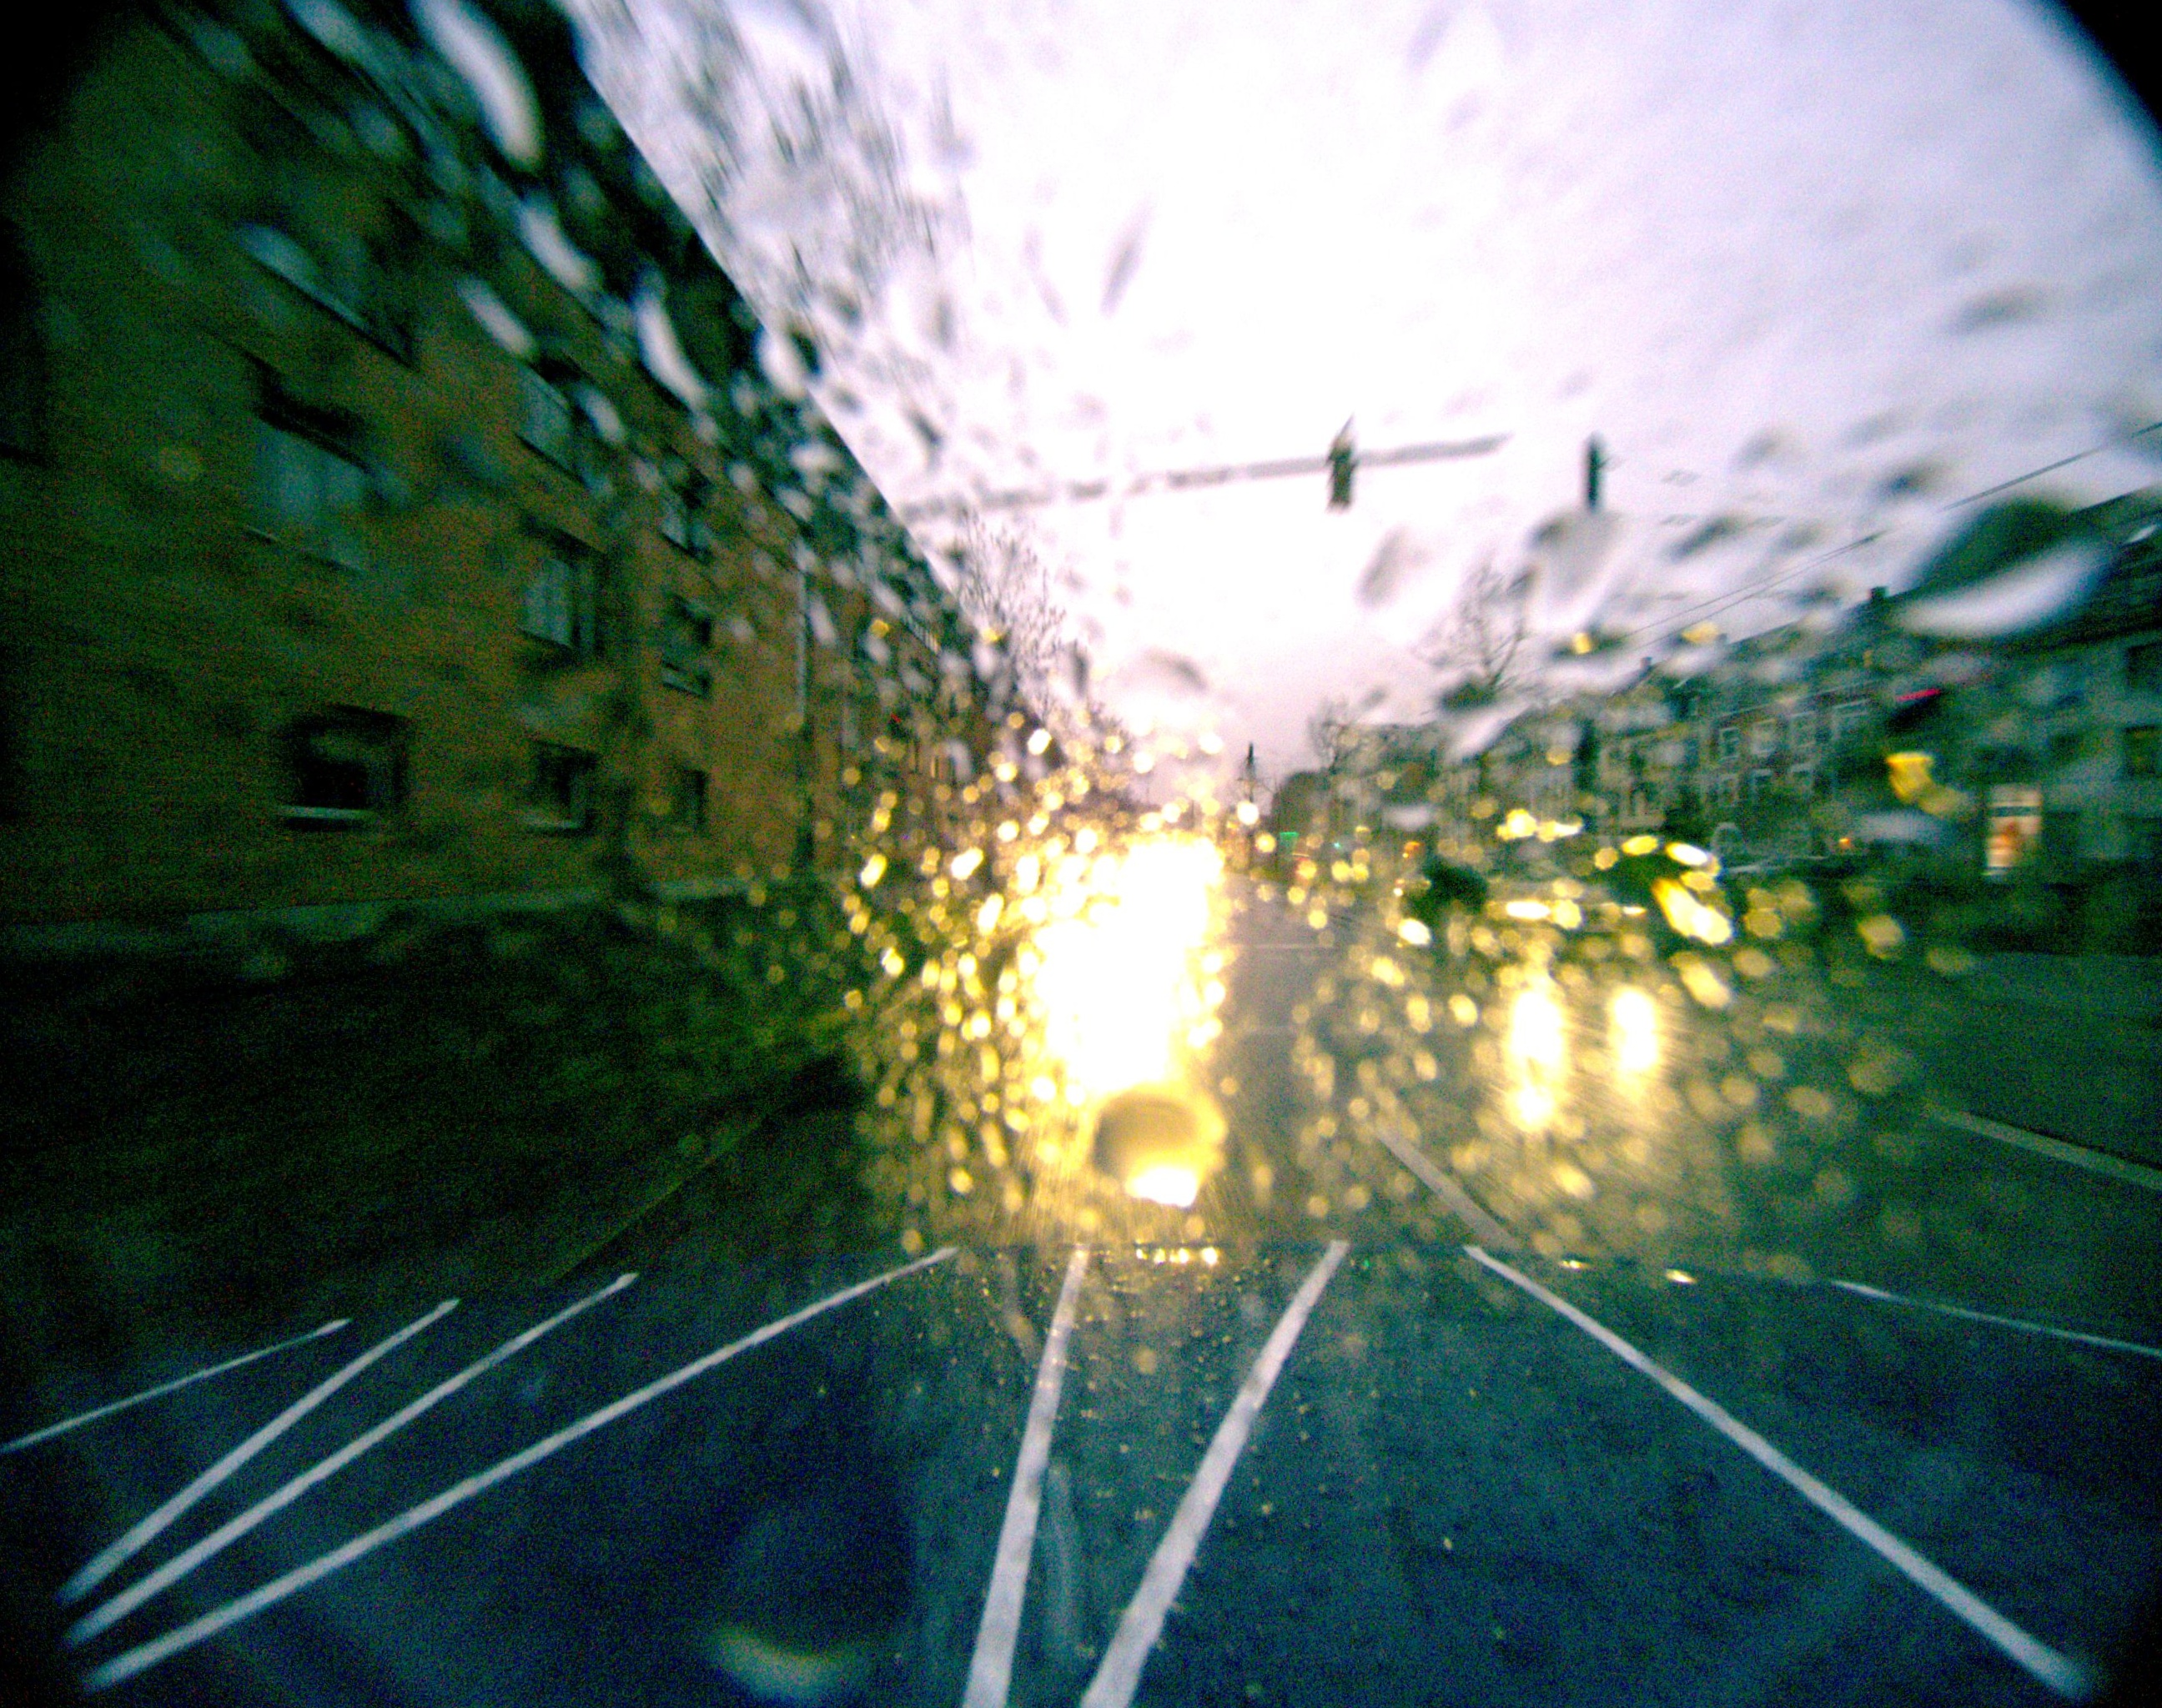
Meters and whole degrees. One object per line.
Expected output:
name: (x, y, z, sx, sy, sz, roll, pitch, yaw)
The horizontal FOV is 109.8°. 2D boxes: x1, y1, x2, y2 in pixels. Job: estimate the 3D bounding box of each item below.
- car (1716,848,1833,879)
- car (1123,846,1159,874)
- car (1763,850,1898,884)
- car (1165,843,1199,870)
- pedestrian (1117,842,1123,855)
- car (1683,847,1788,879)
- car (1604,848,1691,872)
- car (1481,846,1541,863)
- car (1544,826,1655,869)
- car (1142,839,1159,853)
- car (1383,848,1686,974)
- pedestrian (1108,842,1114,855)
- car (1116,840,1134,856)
car: (32.829, 0.414, 36.110, 3.988, 1.324, 2.004, 2, 2, 42)
car: (3.175, 0.289, 40.271, 1.813, 1.385, 4.054, -1, 1, 5)
car: (32.006, 0.511, 32.637, 3.988, 1.324, 2.004, 2, 2, 42)
car: (5.989, 0.109, 45.542, 1.813, 1.488, 4.054, -1, 1, 5)
pedestrian: (5.501, -0.776, 106.977, 0.506, 1.814, 0.656, 0, 2, -21)
car: (33.613, 0.426, 39.159, 3.988, 1.477, 2.004, 1, 2, 39)
car: (34.059, 0.343, 45.737, 3.988, 1.324, 2.004, 2, 2, 42)
car: (35.204, 0.019, 62.241, 3.988, 1.324, 2.004, 1, 2, 39)
car: (34.863, -0.479, 51.275, 2.004, 2.781, 5.849, -1, 2, -44)
car: (8.871, -1.037, 97.154, 1.998, 1.745, 4.001, 1, 1, 4)
car: (6.334, 0.656, 11.426, 1.813, 1.422, 4.825, -1, 1, 2)
pedestrian: (4.070, -0.707, 104.065, 0.506, 1.732, 0.656, 0, 2, -28)
car: (5.163, -0.691, 88.597, 1.998, 1.745, 4.001, 1, 1, 4)
